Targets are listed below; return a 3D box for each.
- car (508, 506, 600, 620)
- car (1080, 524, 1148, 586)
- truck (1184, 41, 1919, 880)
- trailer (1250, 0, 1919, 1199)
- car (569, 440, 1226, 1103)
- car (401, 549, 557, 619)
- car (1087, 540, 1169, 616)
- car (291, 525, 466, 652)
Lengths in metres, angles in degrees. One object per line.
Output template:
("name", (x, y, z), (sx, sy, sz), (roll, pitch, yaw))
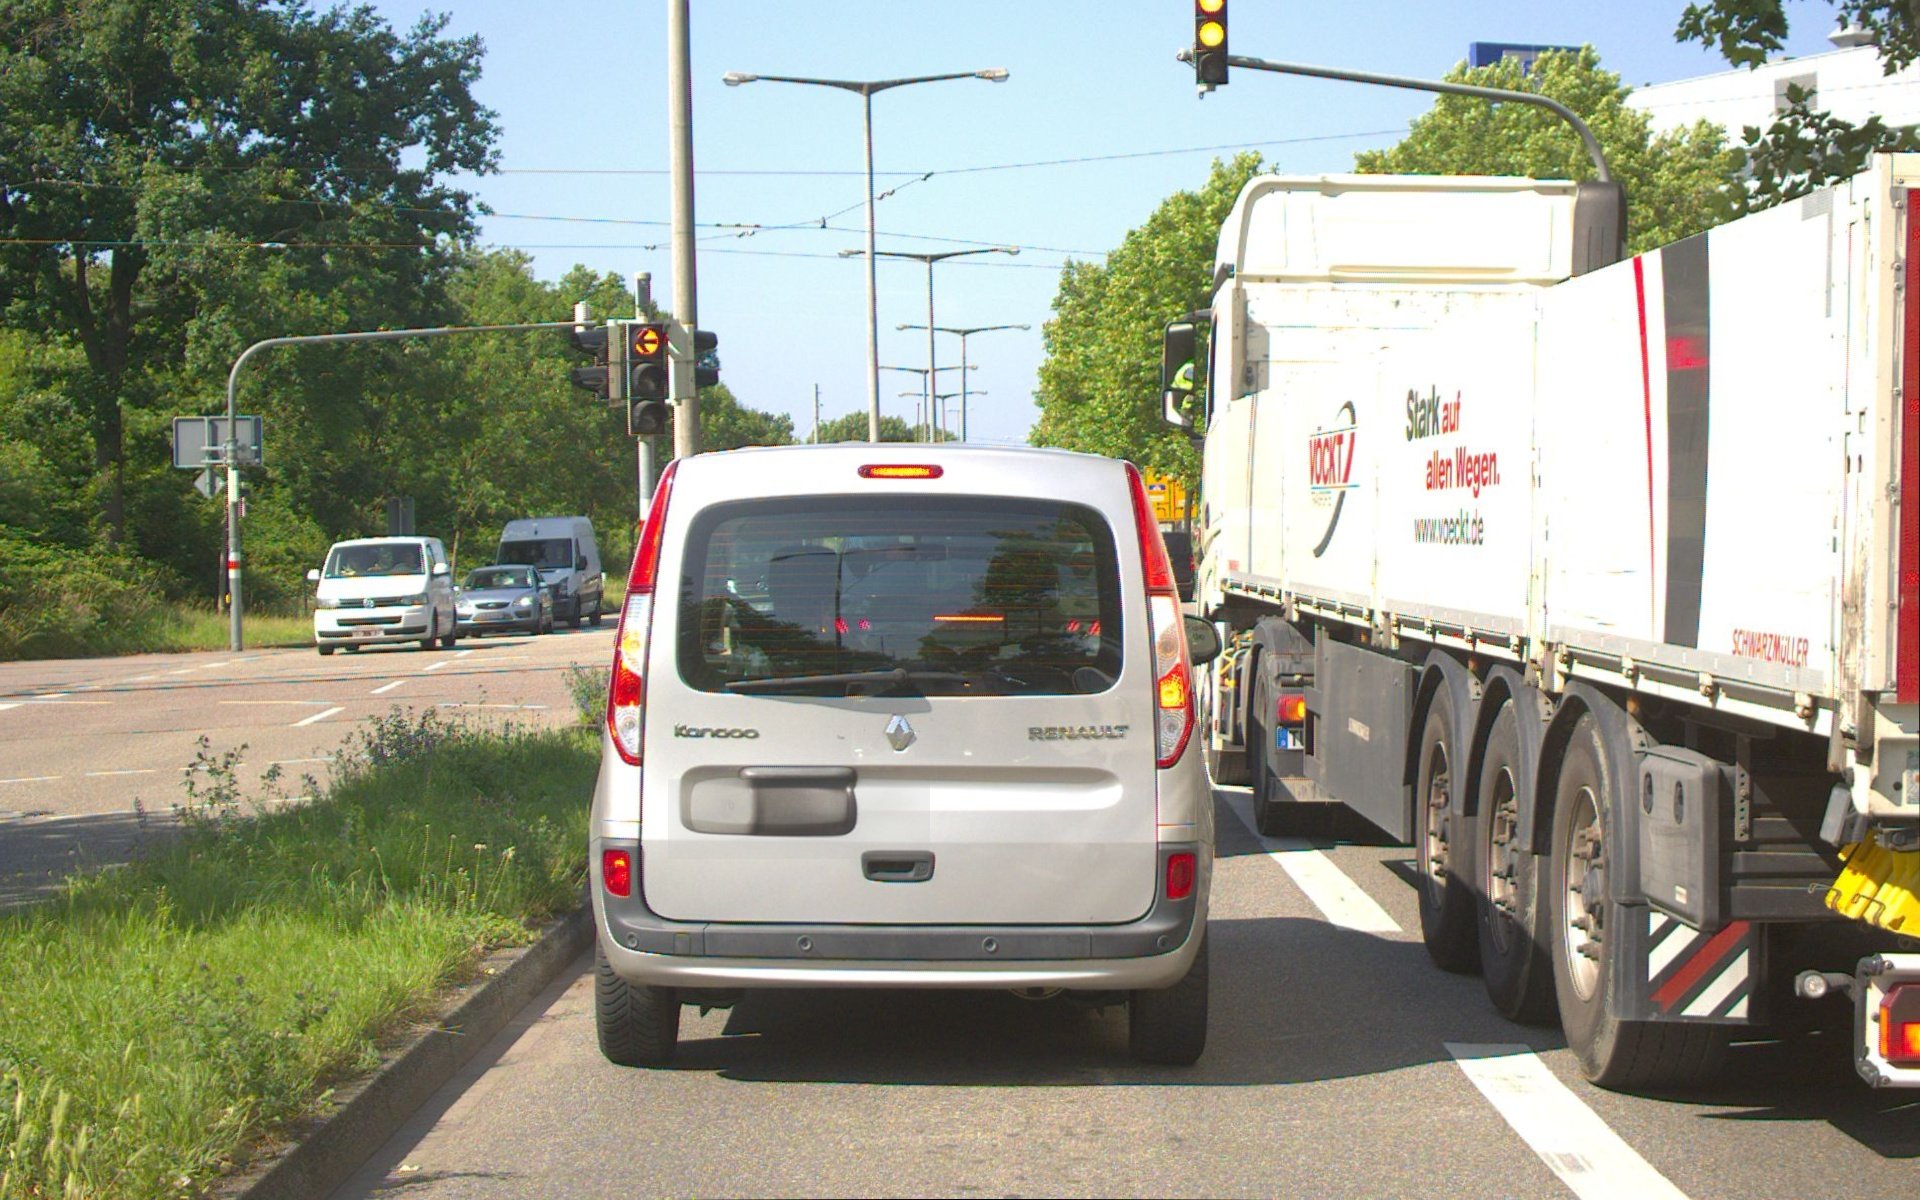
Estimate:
("car", (-9.547, -0.875, 81.145), (2.058, 2.605, 5.871), (0, 1, -6))
("car", (5.043, -1.474, 112.961), (1.993, 2.007, 4.000), (0, 1, -1))
("truck", (3.074, -0.665, 19.109), (3.071, 3.745, 7.477), (0, 1, -1))
("trailer", (3.026, -0.574, 12.220), (3.016, 3.728, 12.240), (0, 1, 0))
("car", (-0.179, 0.434, 11.135), (1.749, 1.766, 3.949), (0, 1, 0))
("car", (-9.931, -0.345, 70.728), (1.911, 1.404, 4.228), (0, 1, -27))
("car", (4.522, -0.607, 93.042), (1.993, 2.007, 4.000), (0, 1, -1))
("car", (-9.455, -0.210, 56.270), (1.993, 1.884, 4.988), (-3, 1, -1))
